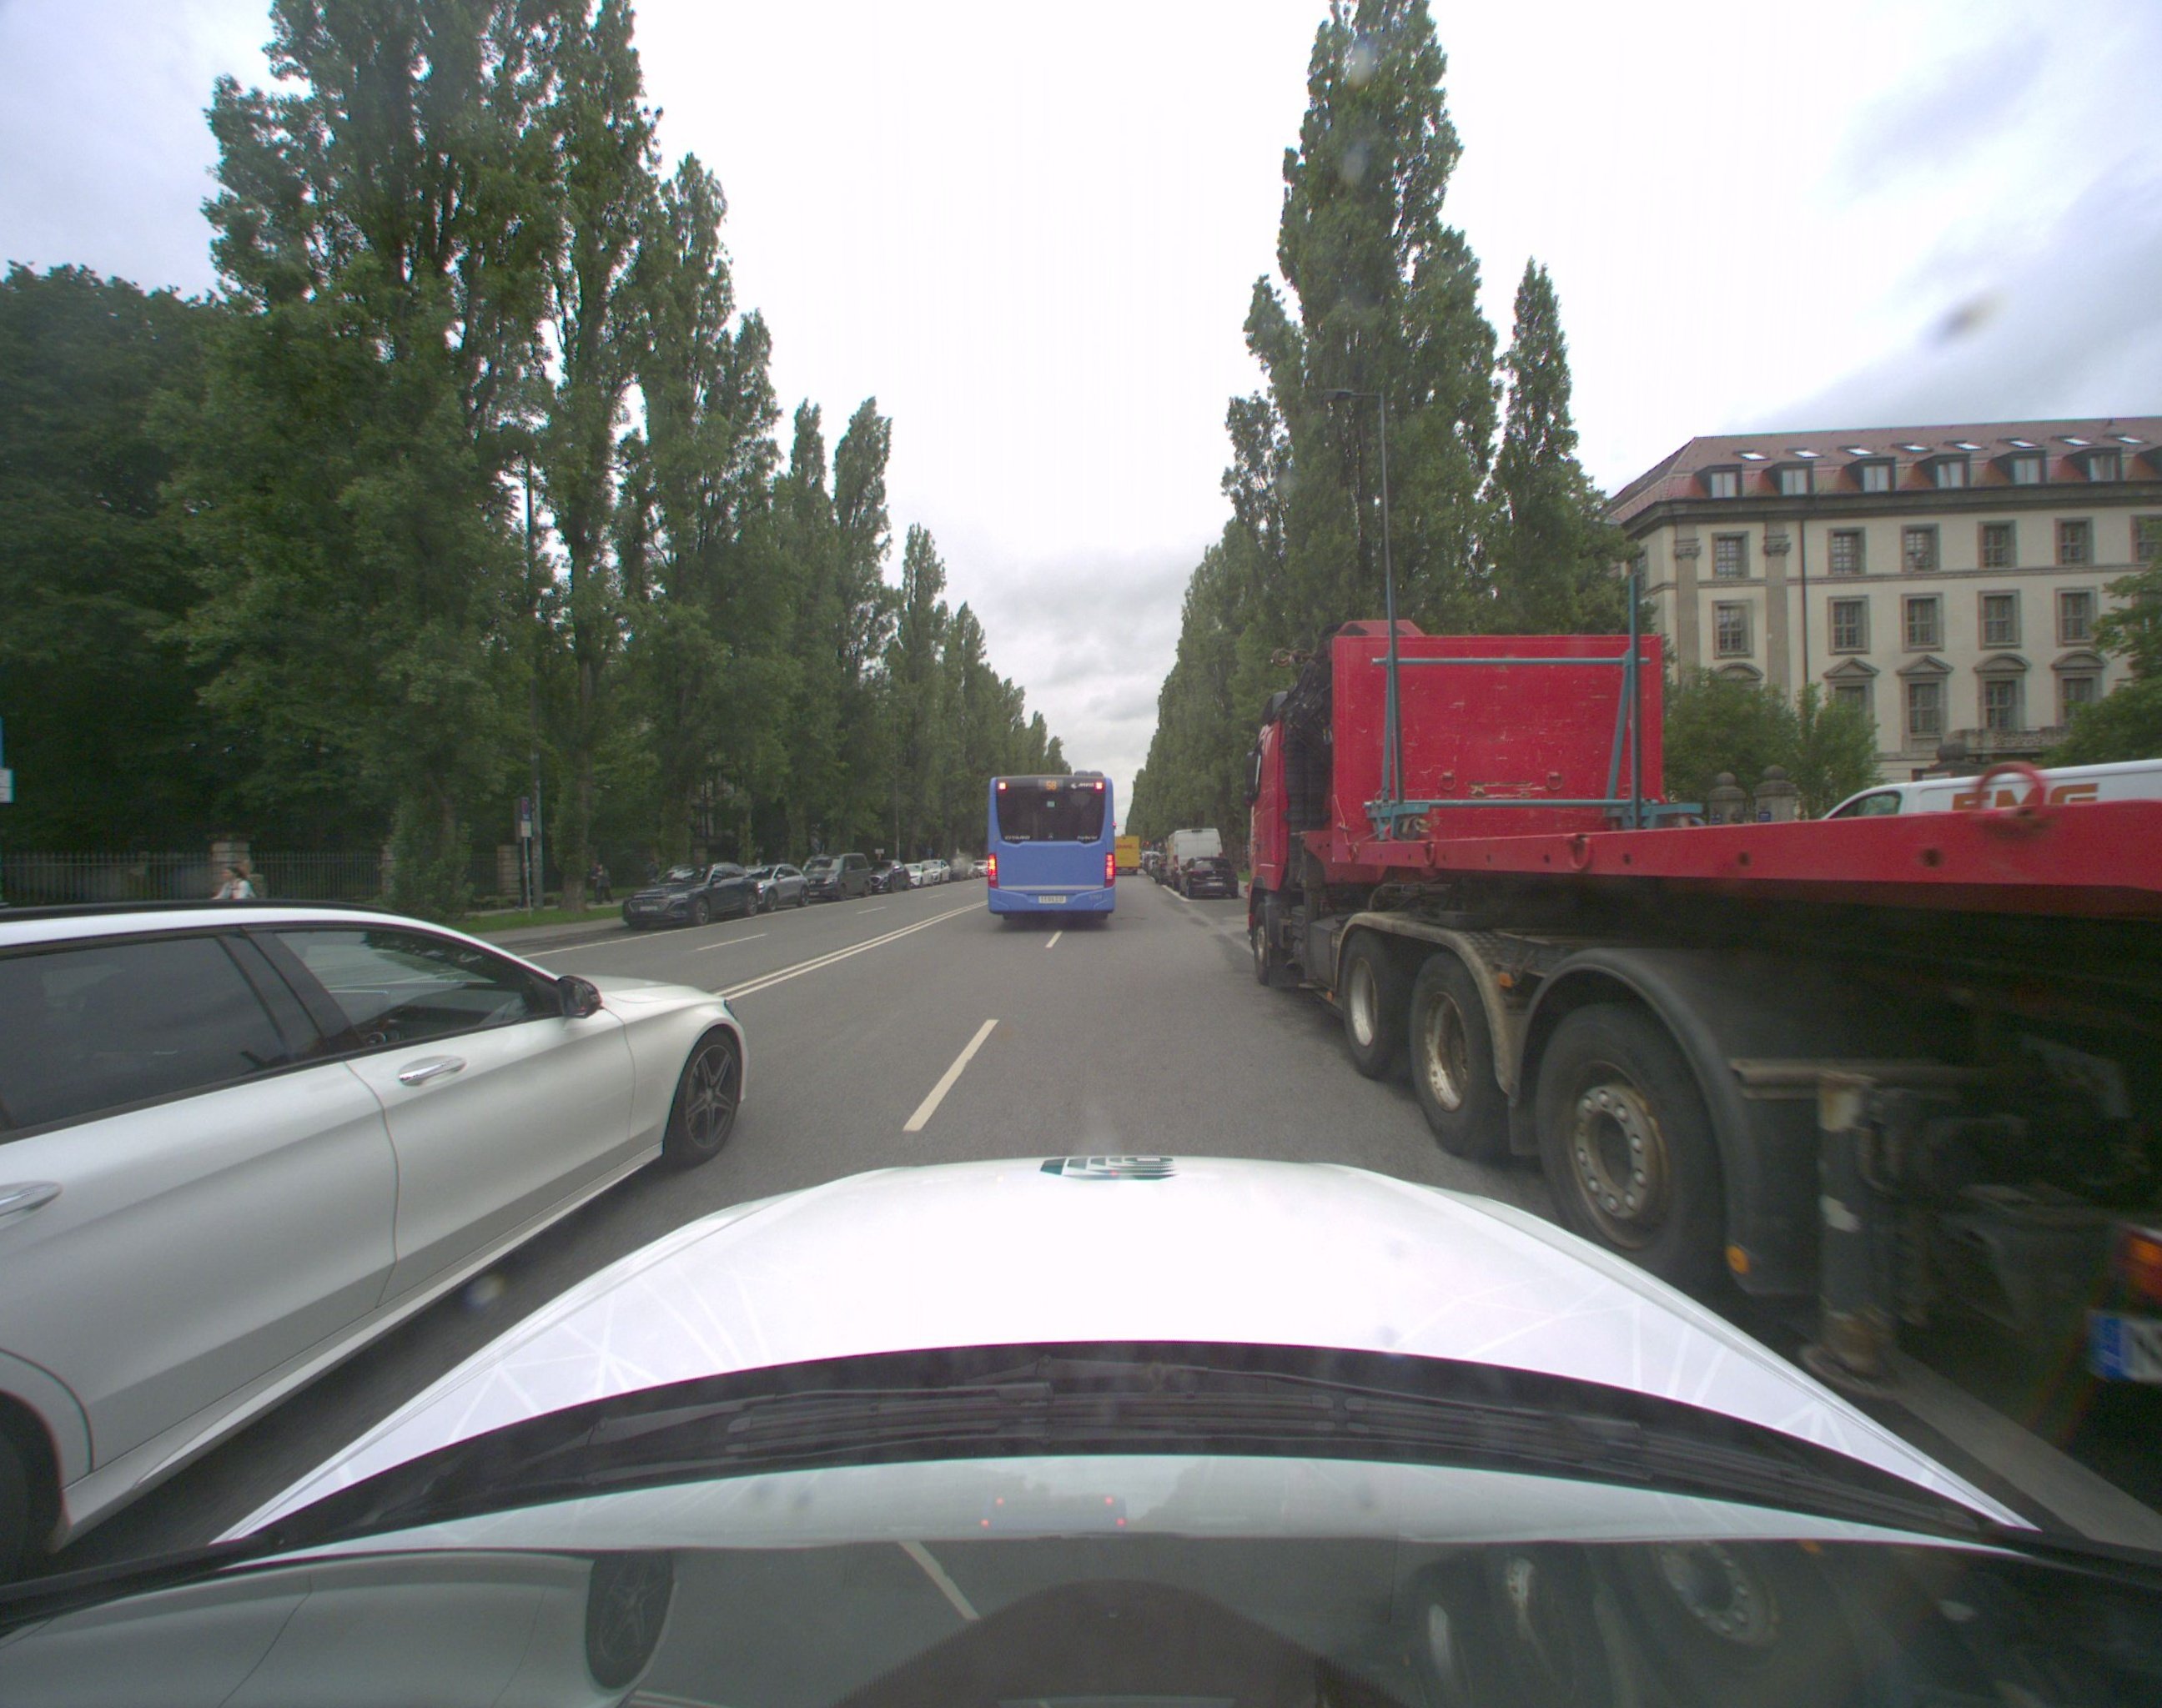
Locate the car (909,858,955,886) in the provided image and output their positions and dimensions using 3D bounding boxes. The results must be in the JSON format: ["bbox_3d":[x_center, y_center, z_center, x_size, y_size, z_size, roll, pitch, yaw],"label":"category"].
[{"bbox_3d":[-9.551,1.122,52.625,1.778,1.588,4.465,-4,0,3],"label":"car"}]

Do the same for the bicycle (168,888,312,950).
[{"bbox_3d":[-14.831,1.126,14.429,0.705,0.939,1.735,-1,0,1],"label":"bicycle"}]

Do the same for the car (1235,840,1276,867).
[{"bbox_3d":[12.837,-0.037,60.134,1.986,1.925,5.326,-1,0,2],"label":"car"}]

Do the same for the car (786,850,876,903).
[{"bbox_3d":[-10.483,0.880,34.610,1.986,1.956,4.940,-3,0,2],"label":"car"}]

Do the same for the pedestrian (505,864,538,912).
[{"bbox_3d":[-19.582,1.179,28.507,0.615,1.659,0.705,-1,0,3],"label":"pedestrian"}]

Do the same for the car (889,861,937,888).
[{"bbox_3d":[-9.791,1.176,47.705,1.670,1.422,4.240,-3,0,2],"label":"car"}]

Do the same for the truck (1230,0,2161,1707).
[{"bbox_3d":[3.155,-0.189,5.854,2.702,3.110,10.434,-2,0,3],"label":"truck"}]

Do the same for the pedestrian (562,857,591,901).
[{"bbox_3d":[-20.489,1.008,33.080,0.664,1.722,0.734,-2,0,3],"label":"pedestrian"}]

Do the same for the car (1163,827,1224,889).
[{"bbox_3d":[4.882,0.149,36.162,2.066,2.479,6.287,-1,0,2],"label":"car"}]

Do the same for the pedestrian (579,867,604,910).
[{"bbox_3d":[-19.848,1.398,33.048,0.506,1.707,0.723,-1,0,3],"label":"pedestrian"}]

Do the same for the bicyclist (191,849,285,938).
[{"bbox_3d":[-14.847,0.674,14.365,0.691,1.498,0.862,-2,0,1],"label":"bicyclist"}]

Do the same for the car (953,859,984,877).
[{"bbox_3d":[-8.865,1.077,64.536,1.573,1.304,4.032,-3,0,3],"label":"car"}]

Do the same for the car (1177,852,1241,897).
[{"bbox_3d":[4.437,0.662,28.767,1.747,1.450,4.002,1,0,2],"label":"car"}]

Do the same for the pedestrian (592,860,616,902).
[{"bbox_3d":[-19.308,1.083,32.965,0.547,1.669,0.674,-1,0,3],"label":"pedestrian"}]

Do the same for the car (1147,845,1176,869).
[{"bbox_3d":[5.625,0.207,57.324,1.774,1.581,4.149,0,0,2],"label":"car"}]

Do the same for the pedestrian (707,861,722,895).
[{"bbox_3d":[-18.938,1.229,42.093,0.506,1.707,0.570,-1,0,3],"label":"pedestrian"}]

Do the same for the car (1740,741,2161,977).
[{"bbox_3d":[9.886,0.032,8.672,1.873,1.944,4.886,0,0,1],"label":"car"}]

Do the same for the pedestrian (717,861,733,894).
[{"bbox_3d":[-18.393,1.201,42.050,0.506,1.707,0.570,-1,0,3],"label":"pedestrian"}]

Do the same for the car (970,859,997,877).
[{"bbox_3d":[-8.740,1.259,73.252,1.679,1.413,4.006,-3,0,2],"label":"car"}]

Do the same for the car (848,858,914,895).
[{"bbox_3d":[-9.933,1.071,40.867,1.808,1.609,5.056,-4,0,2],"label":"car"}]

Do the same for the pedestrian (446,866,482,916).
[{"bbox_3d":[-20.506,1.225,27.081,0.615,1.596,0.705,-1,0,4],"label":"pedestrian"}]

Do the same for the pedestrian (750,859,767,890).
[{"bbox_3d":[-18.233,1.157,46.076,0.606,1.757,0.757,-2,0,1],"label":"pedestrian"}]

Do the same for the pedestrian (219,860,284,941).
[{"bbox_3d":[-18.276,1.011,17.959,0.580,1.720,0.787,-1,0,1],"label":"pedestrian"}]

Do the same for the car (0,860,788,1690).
[{"bbox_3d":[-2.781,0.774,2.551,1.818,1.454,4.587,-1,0,3],"label":"car"}]

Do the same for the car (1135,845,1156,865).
[{"bbox_3d":[6.954,0.042,87.754,2.044,2.013,5.697,-2,0,3],"label":"car"}]

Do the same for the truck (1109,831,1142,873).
[{"bbox_3d":[3.314,-0.142,61.869,2.318,2.898,7.337,-1,0,2],"label":"truck"}]

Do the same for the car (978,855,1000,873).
[{"bbox_3d":[-8.703,0.931,77.657,1.739,1.518,4.113,-3,0,-3],"label":"car"}]

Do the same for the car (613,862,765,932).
[{"bbox_3d":[-10.806,1.103,22.897,1.775,1.596,4.616,-3,0,2],"label":"car"}]

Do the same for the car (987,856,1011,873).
[{"bbox_3d":[-8.281,1.066,82.406,1.807,1.643,4.002,-2,0,2],"label":"car"}]

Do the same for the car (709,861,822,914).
[{"bbox_3d":[-10.852,1.092,28.426,1.883,1.584,4.657,-3,0,2],"label":"car"}]

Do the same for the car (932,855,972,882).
[{"bbox_3d":[-9.231,0.997,58.699,1.873,1.658,4.719,-4,0,1],"label":"car"}]

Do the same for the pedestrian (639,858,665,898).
[{"bbox_3d":[-20.110,1.126,38.196,0.743,1.854,0.758,-1,0,3],"label":"pedestrian"}]

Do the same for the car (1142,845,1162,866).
[{"bbox_3d":[6.944,0.147,79.516,1.798,1.976,4.240,-1,0,3],"label":"car"}]

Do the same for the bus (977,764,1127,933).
[{"bbox_3d":[-0.528,-0.134,20.253,2.846,3.213,9.059,-1,0,0],"label":"bus"}]

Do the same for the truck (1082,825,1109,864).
[{"bbox_3d":[1.566,-1.023,88.693,2.707,3.965,9.218,-2,0,1],"label":"truck"}]

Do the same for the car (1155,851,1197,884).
[{"bbox_3d":[4.882,0.668,42.206,1.814,1.590,4.225,-1,0,2],"label":"car"}]
